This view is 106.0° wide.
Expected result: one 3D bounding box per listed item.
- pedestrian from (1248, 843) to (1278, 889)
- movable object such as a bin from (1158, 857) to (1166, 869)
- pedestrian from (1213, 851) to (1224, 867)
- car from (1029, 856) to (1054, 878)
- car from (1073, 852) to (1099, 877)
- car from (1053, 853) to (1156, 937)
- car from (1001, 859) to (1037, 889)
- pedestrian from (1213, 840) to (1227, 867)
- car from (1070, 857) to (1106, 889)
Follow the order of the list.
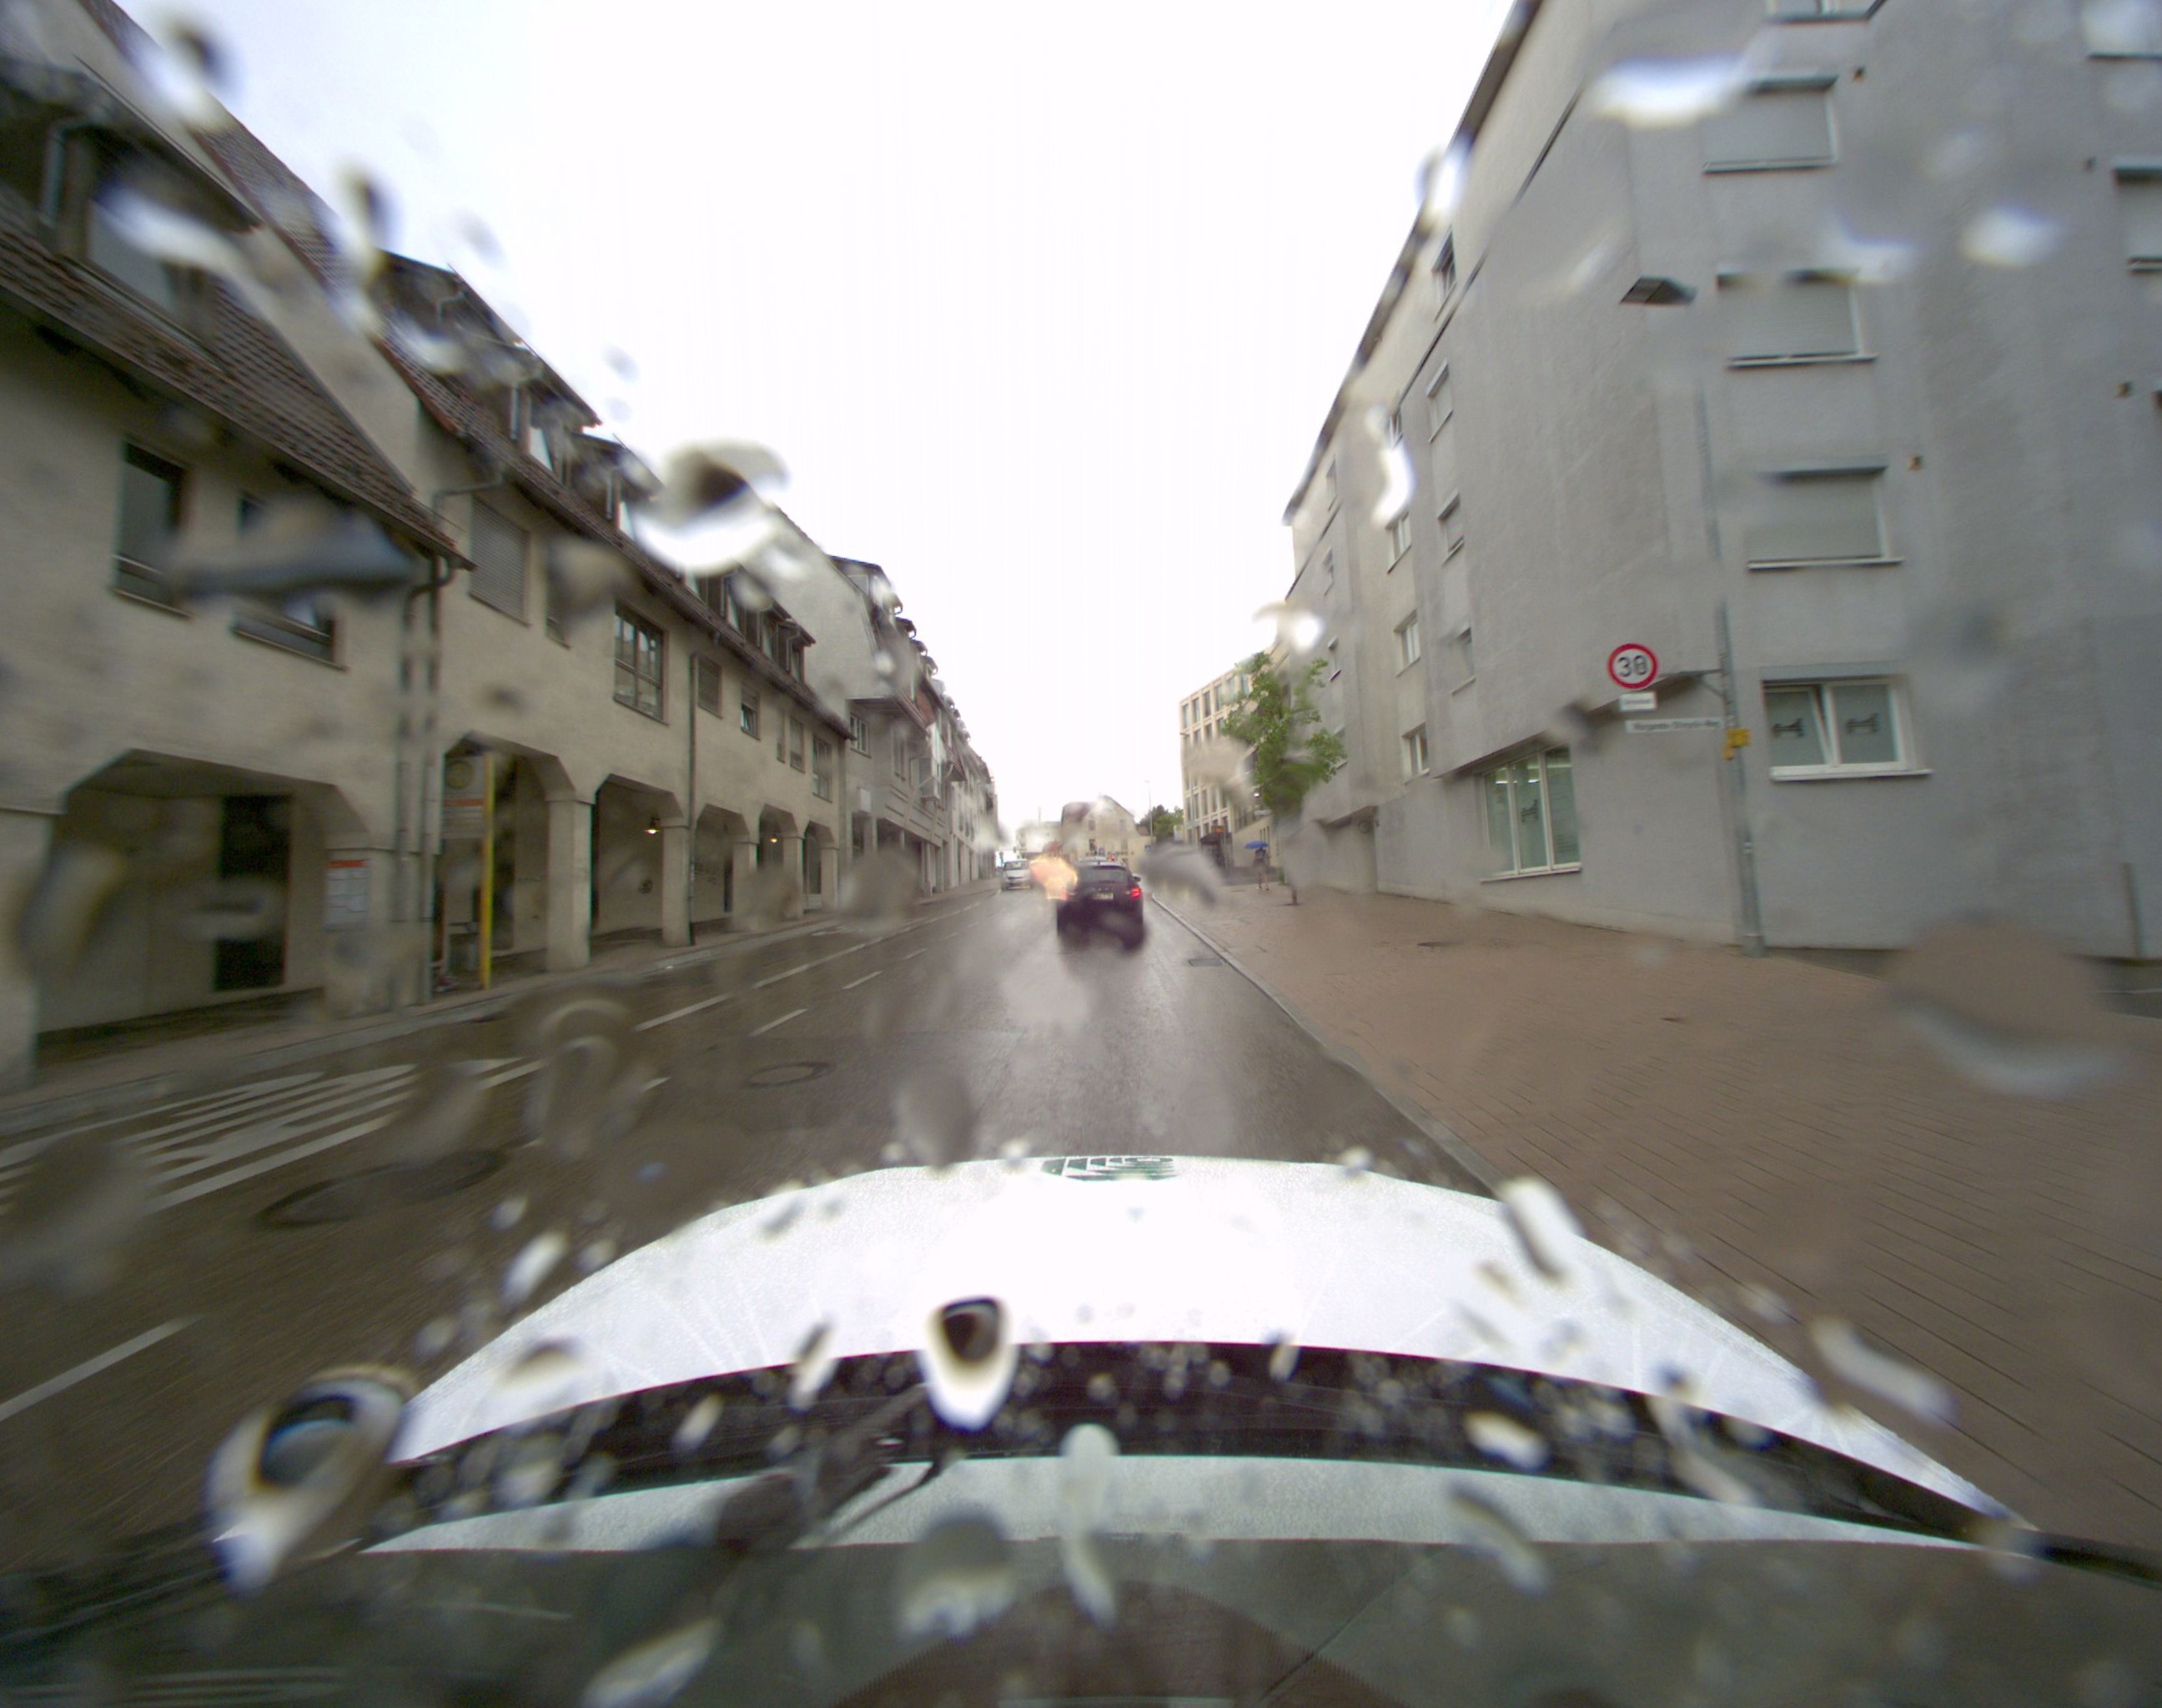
[{"bbox_3d":[6.493,0.434,29.112,0.732,1.542,1.039,-6,-1,4],"label":"pedestrian"},{"bbox_3d":[7.312,0.803,73.502,0.593,1.062,0.579,-3,-1,0],"label":"movable object such as a bin"},{"bbox_3d":[10.544,0.370,62.407,0.669,1.162,0.635,-4,-1,1],"label":"pedestrian"},{"bbox_3d":[-2.853,0.934,59.417,1.672,1.510,3.586,-3,0,-1],"label":"car"},{"bbox_3d":[0.370,0.694,56.489,1.675,1.560,4.000,-3,0,1],"label":"car"},{"bbox_3d":[0.505,0.811,18.033,1.938,1.567,4.418,-2,0,1],"label":"car"},{"bbox_3d":[-3.400,1.077,45.214,1.672,1.510,3.588,-3,0,0],"label":"car"},{"bbox_3d":[10.423,-0.012,61.114,0.779,1.940,1.021,-4,-1,1],"label":"pedestrian"},{"bbox_3d":[0.337,0.946,41.806,1.672,1.510,3.586,-3,0,-1],"label":"car"}]
